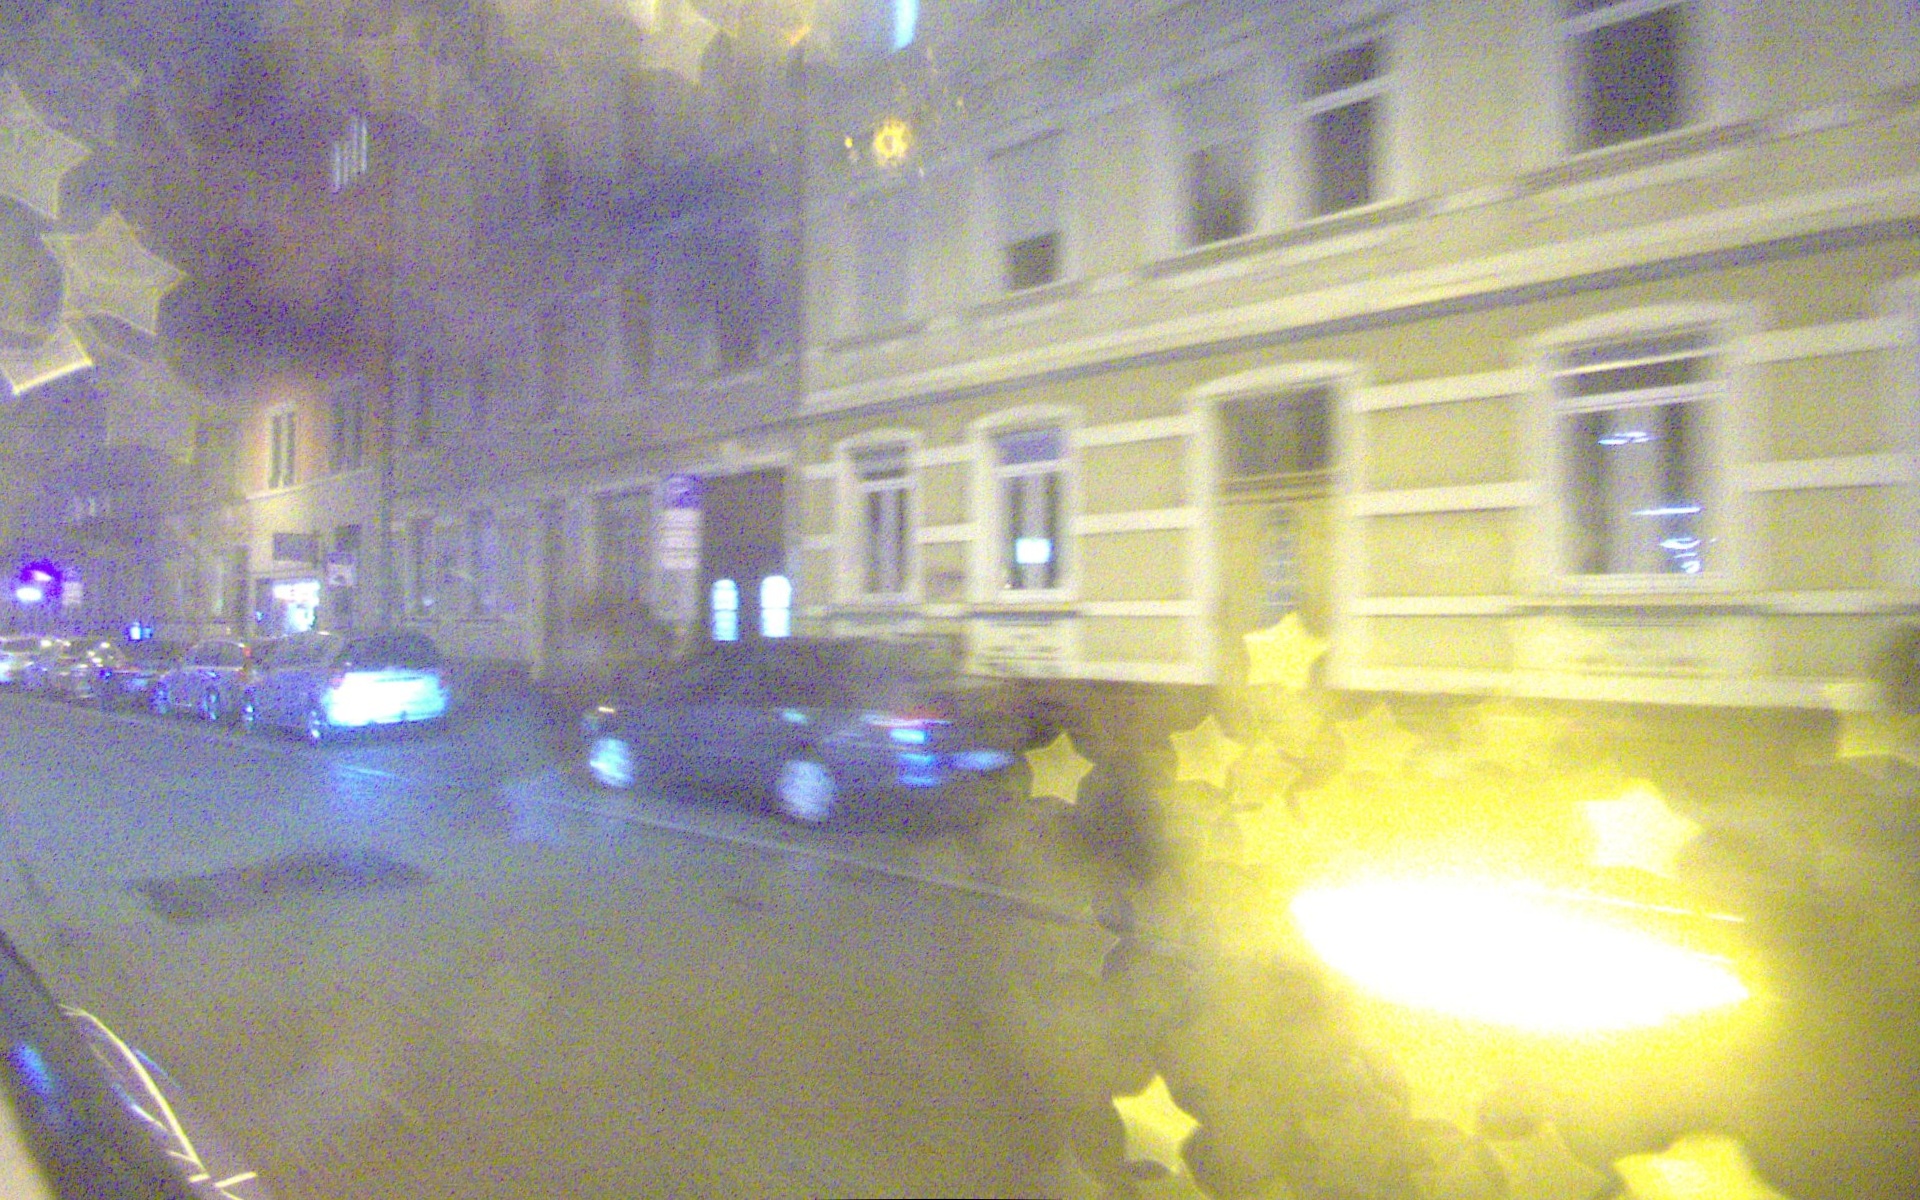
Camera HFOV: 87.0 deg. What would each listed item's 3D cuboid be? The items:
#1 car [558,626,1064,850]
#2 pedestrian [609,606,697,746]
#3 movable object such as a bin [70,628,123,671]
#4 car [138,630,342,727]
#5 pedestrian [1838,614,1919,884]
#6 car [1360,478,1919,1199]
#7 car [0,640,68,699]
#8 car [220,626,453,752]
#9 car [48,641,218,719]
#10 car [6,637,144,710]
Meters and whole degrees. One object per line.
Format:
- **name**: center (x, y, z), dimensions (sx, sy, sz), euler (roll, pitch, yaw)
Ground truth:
- **car**: center (-1.505, 0.987, 8.990), dimensions (4.588, 1.497, 1.815), euler (-1, -2, 39)
- **pedestrian**: center (-4.230, 1.009, 13.946), dimensions (0.986, 1.818, 0.735), euler (-1, 1, 42)
- **movable object such as a bin**: center (-30.257, 1.735, 35.476), dimensions (1.376, 1.465, 1.091), euler (-1, -3, 36)
- **car**: center (-12.760, 1.286, 17.847), dimensions (4.301, 1.492, 1.815), euler (-1, -2, 39)
- **pedestrian**: center (5.970, 0.878, 6.161), dimensions (0.758, 1.564, 0.653), euler (-1, 0, 24)
- **car**: center (3.083, 0.670, 1.206), dimensions (4.562, 1.630, 1.905), euler (-1, -4, 34)
- **car**: center (-26.735, 1.919, 28.623), dimensions (3.717, 1.502, 1.656), euler (-1, -1, 38)
- **car**: center (-9.148, 1.185, 14.760), dimensions (3.761, 1.600, 1.728), euler (-1, -2, 39)
- **car**: center (-17.079, 1.563, 20.843), dimensions (4.420, 1.400, 1.804), euler (-1, -2, 38)
- **car**: center (-21.379, 1.697, 24.403), dimensions (4.129, 1.584, 1.757), euler (-1, -2, 38)
